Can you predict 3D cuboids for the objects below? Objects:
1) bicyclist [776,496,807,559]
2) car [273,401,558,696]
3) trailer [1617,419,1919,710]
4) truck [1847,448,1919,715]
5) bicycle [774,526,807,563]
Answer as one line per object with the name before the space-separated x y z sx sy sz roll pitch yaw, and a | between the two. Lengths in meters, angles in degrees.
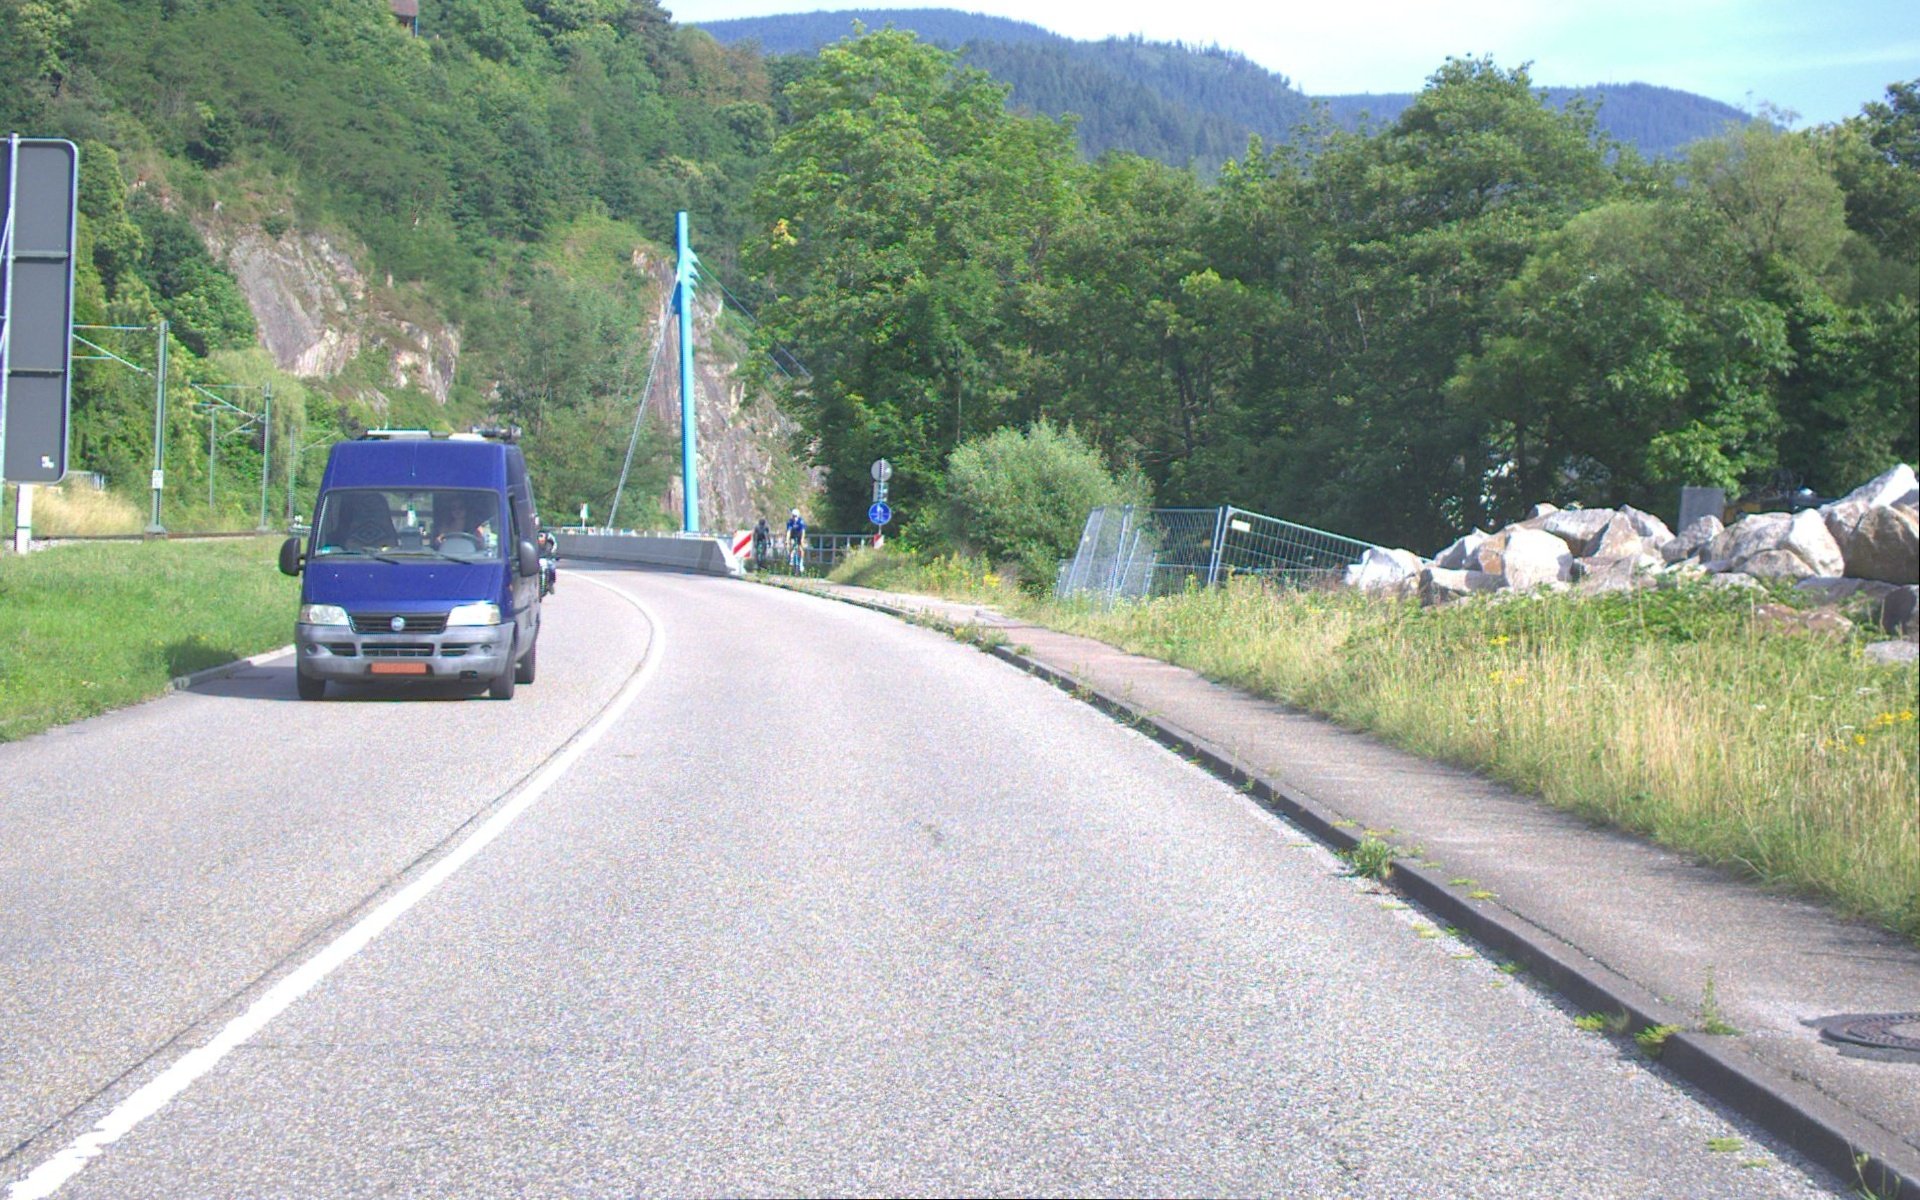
bicyclist | -4.574 -1.970 93.271 0.641 1.648 0.809 4 1 -9
car | -5.140 -0.525 33.186 2.126 2.606 5.480 0 1 -3
trailer | 14.102 -0.539 55.947 3.364 4.259 9.912 3 0 -9
truck | 15.417 -0.137 46.789 3.102 3.769 8.647 3 1 -9
bicycle | -4.611 -1.510 93.297 0.648 0.939 1.848 4 1 -9
